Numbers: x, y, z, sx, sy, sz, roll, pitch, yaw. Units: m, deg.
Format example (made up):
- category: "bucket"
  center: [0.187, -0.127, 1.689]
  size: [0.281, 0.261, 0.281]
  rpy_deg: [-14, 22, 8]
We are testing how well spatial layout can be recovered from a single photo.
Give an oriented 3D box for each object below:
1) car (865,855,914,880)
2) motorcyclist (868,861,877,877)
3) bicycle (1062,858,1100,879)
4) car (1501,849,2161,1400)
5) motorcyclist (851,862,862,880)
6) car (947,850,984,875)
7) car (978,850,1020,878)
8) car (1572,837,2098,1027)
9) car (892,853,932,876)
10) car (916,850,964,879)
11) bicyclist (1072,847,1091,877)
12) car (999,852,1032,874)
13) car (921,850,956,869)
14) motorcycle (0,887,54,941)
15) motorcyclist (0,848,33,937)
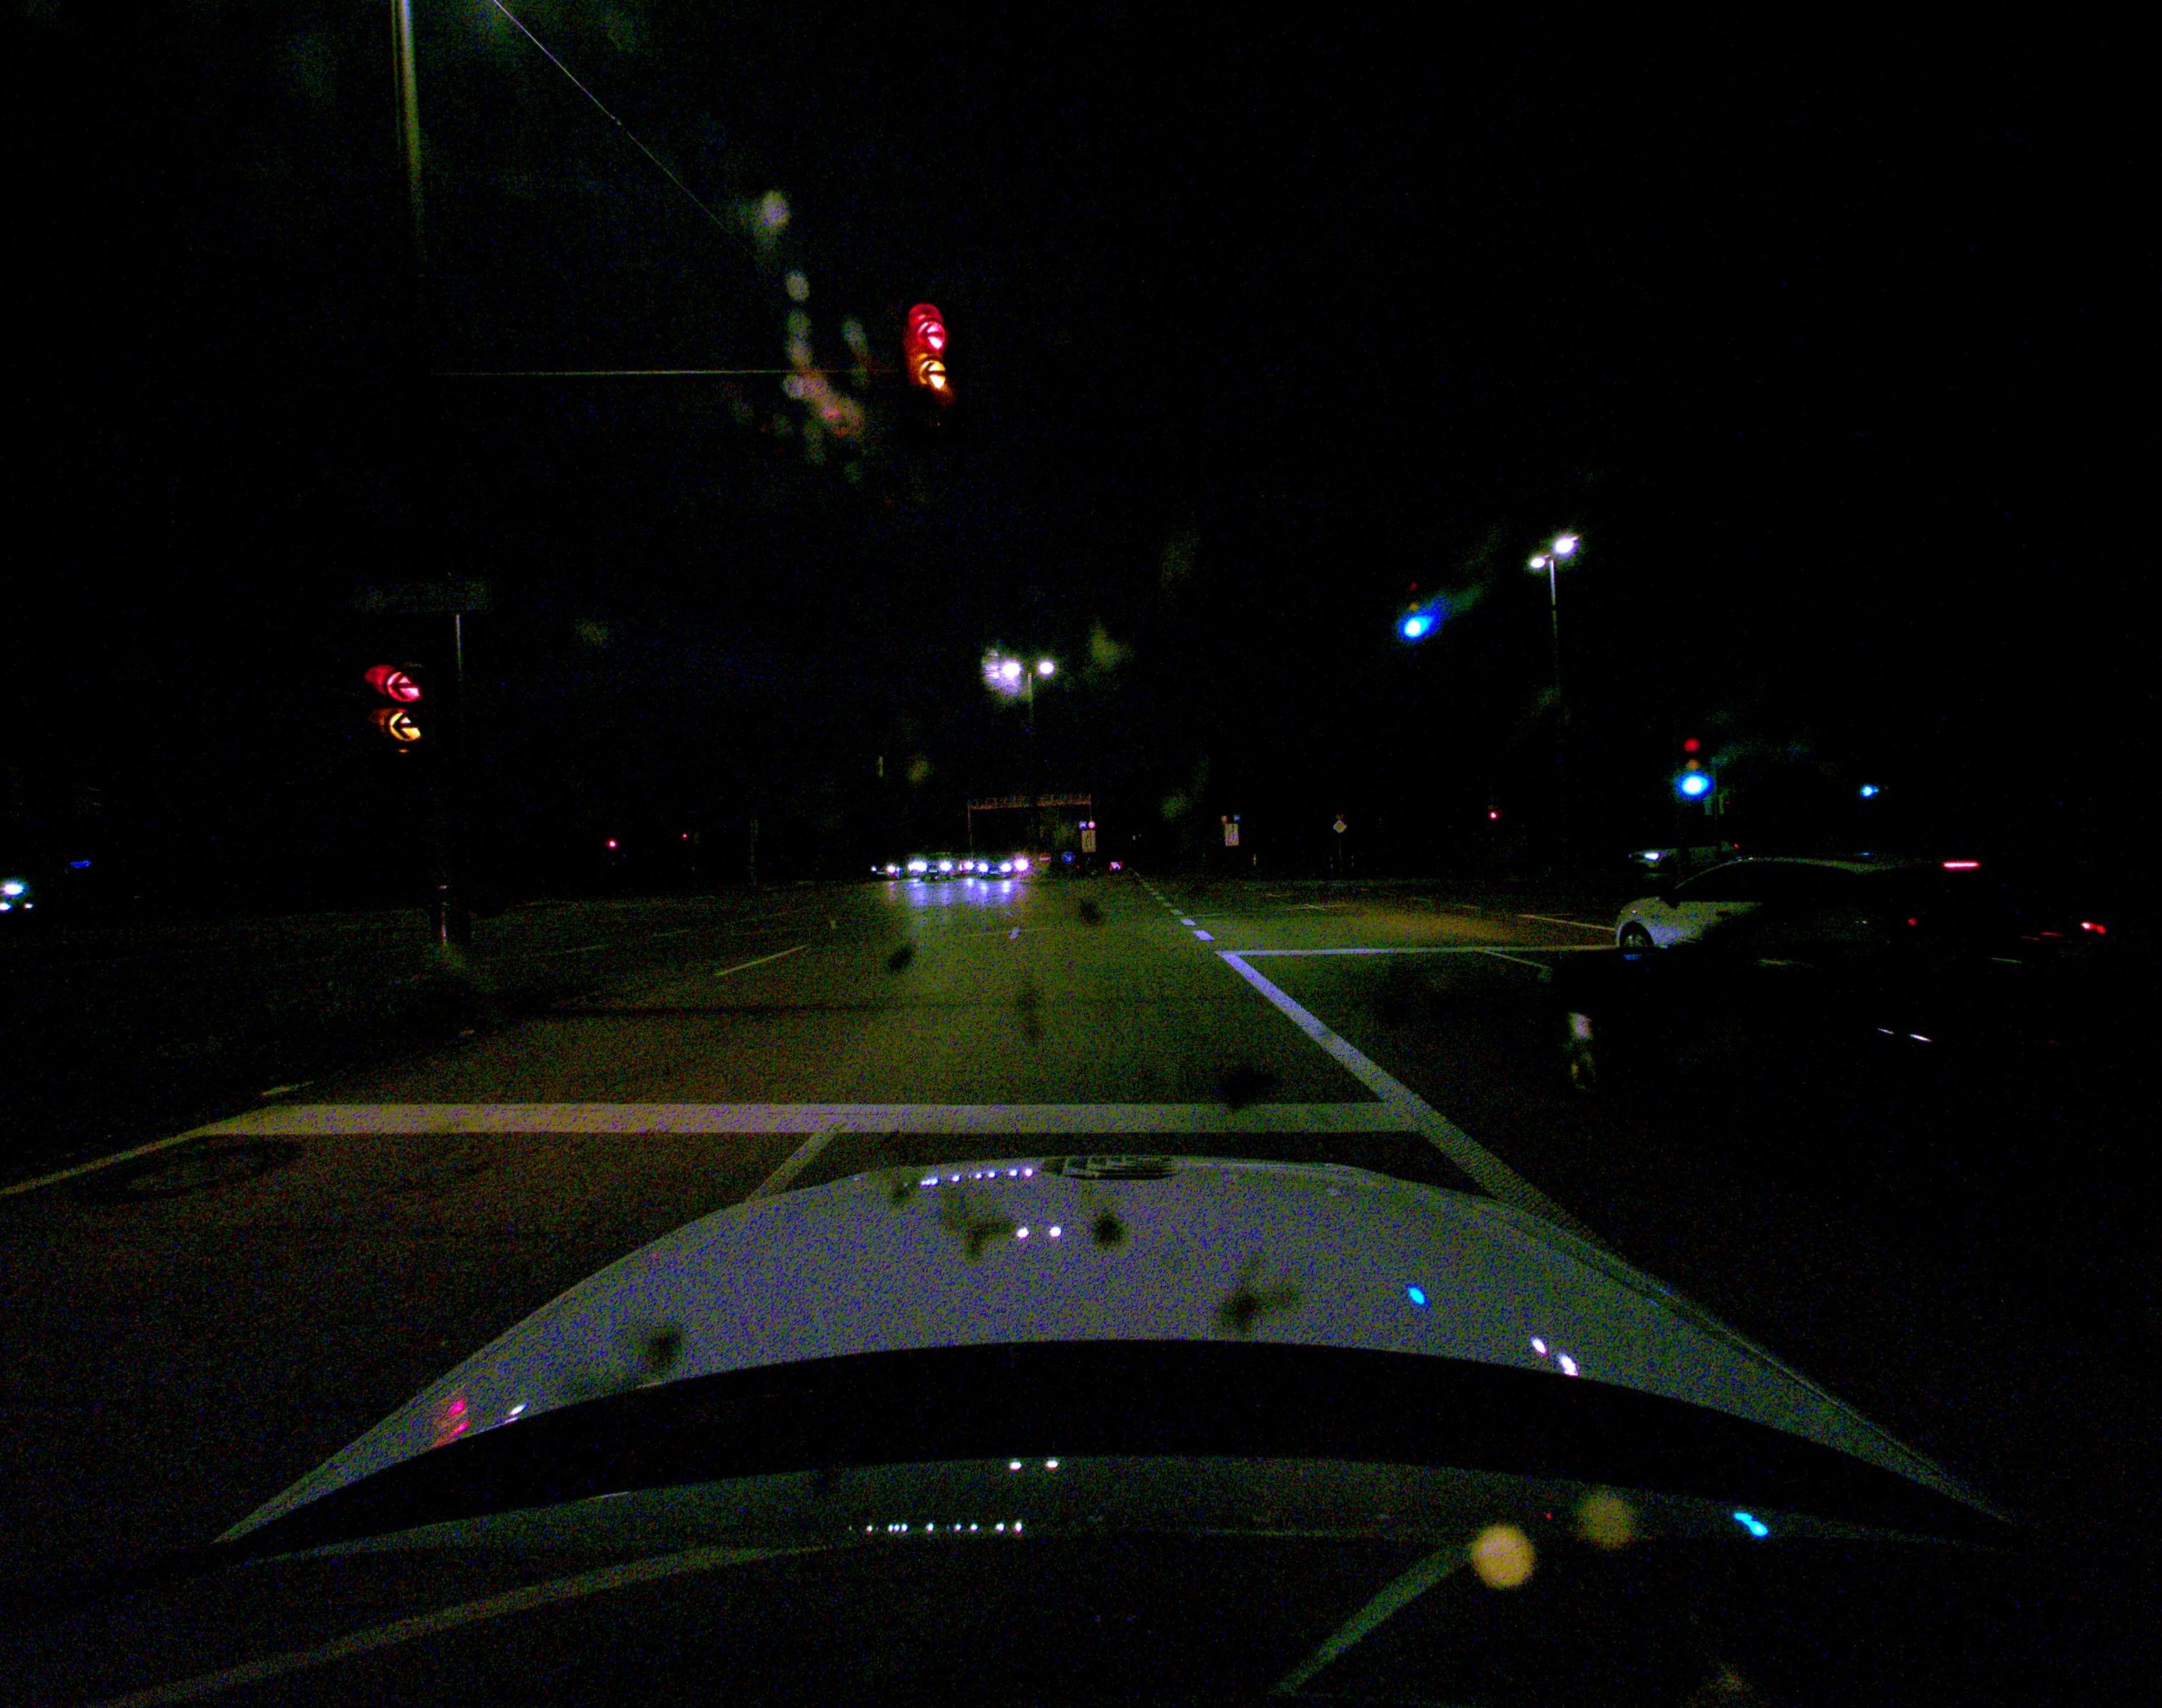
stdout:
- category: "car"
  center: [-12.180, 0.841, 52.038]
  size: [1.772, 1.445, 4.297]
  rpy_deg: [-1, 1, 5]
- category: "motorcyclist"
  center: [-23.738, 1.668, 92.813]
  size: [0.681, 1.759, 0.788]
  rpy_deg: [-5, -2, -6]
- category: "bicycle"
  center: [-0.004, 0.784, 44.696]
  size: [2.057, 1.101, 0.694]
  rpy_deg: [-1, 0, -4]
- category: "car"
  center: [3.741, 0.709, 3.318]
  size: [1.784, 1.443, 4.534]
  rpy_deg: [0, 0, 1]
- category: "motorcyclist"
  center: [-24.222, 1.887, 87.853]
  size: [0.916, 1.809, 0.865]
  rpy_deg: [-5, -3, -16]
- category: "car"
  center: [-8.241, 0.586, 58.351]
  size: [1.738, 1.626, 4.367]
  rpy_deg: [-1, 1, 4]
- category: "car"
  center: [-5.079, 0.590, 51.039]
  size: [1.844, 1.633, 4.589]
  rpy_deg: [-1, 1, 3]
- category: "car"
  center: [7.166, 0.608, 8.451]
  size: [1.614, 1.443, 4.117]
  rpy_deg: [-1, 0, -1]
- category: "car"
  center: [-12.093, 0.737, 58.478]
  size: [1.824, 1.524, 4.003]
  rpy_deg: [-2, 0, 3]
- category: "car"
  center: [-8.759, 0.645, 50.967]
  size: [1.900, 1.682, 4.424]
  rpy_deg: [-1, 1, 4]
- category: "bicyclist"
  center: [0.029, 0.430, 44.714]
  size: [0.995, 1.651, 0.603]
  rpy_deg: [-1, 0, -3]
- category: "car"
  center: [-4.708, 0.632, 59.013]
  size: [1.765, 1.481, 3.914]
  rpy_deg: [-1, 0, 4]
- category: "car"
  center: [-11.506, 0.402, 65.864]
  size: [1.824, 1.390, 4.401]
  rpy_deg: [-2, 1, 3]
- category: "motorcycle"
  center: [-24.549, 1.349, 18.474]
  size: [1.793, 1.163, 0.674]
  rpy_deg: [-1, 0, 6]
- category: "motorcyclist"
  center: [-24.760, 0.869, 18.624]
  size: [0.761, 2.013, 0.637]
  rpy_deg: [-1, 0, 6]
